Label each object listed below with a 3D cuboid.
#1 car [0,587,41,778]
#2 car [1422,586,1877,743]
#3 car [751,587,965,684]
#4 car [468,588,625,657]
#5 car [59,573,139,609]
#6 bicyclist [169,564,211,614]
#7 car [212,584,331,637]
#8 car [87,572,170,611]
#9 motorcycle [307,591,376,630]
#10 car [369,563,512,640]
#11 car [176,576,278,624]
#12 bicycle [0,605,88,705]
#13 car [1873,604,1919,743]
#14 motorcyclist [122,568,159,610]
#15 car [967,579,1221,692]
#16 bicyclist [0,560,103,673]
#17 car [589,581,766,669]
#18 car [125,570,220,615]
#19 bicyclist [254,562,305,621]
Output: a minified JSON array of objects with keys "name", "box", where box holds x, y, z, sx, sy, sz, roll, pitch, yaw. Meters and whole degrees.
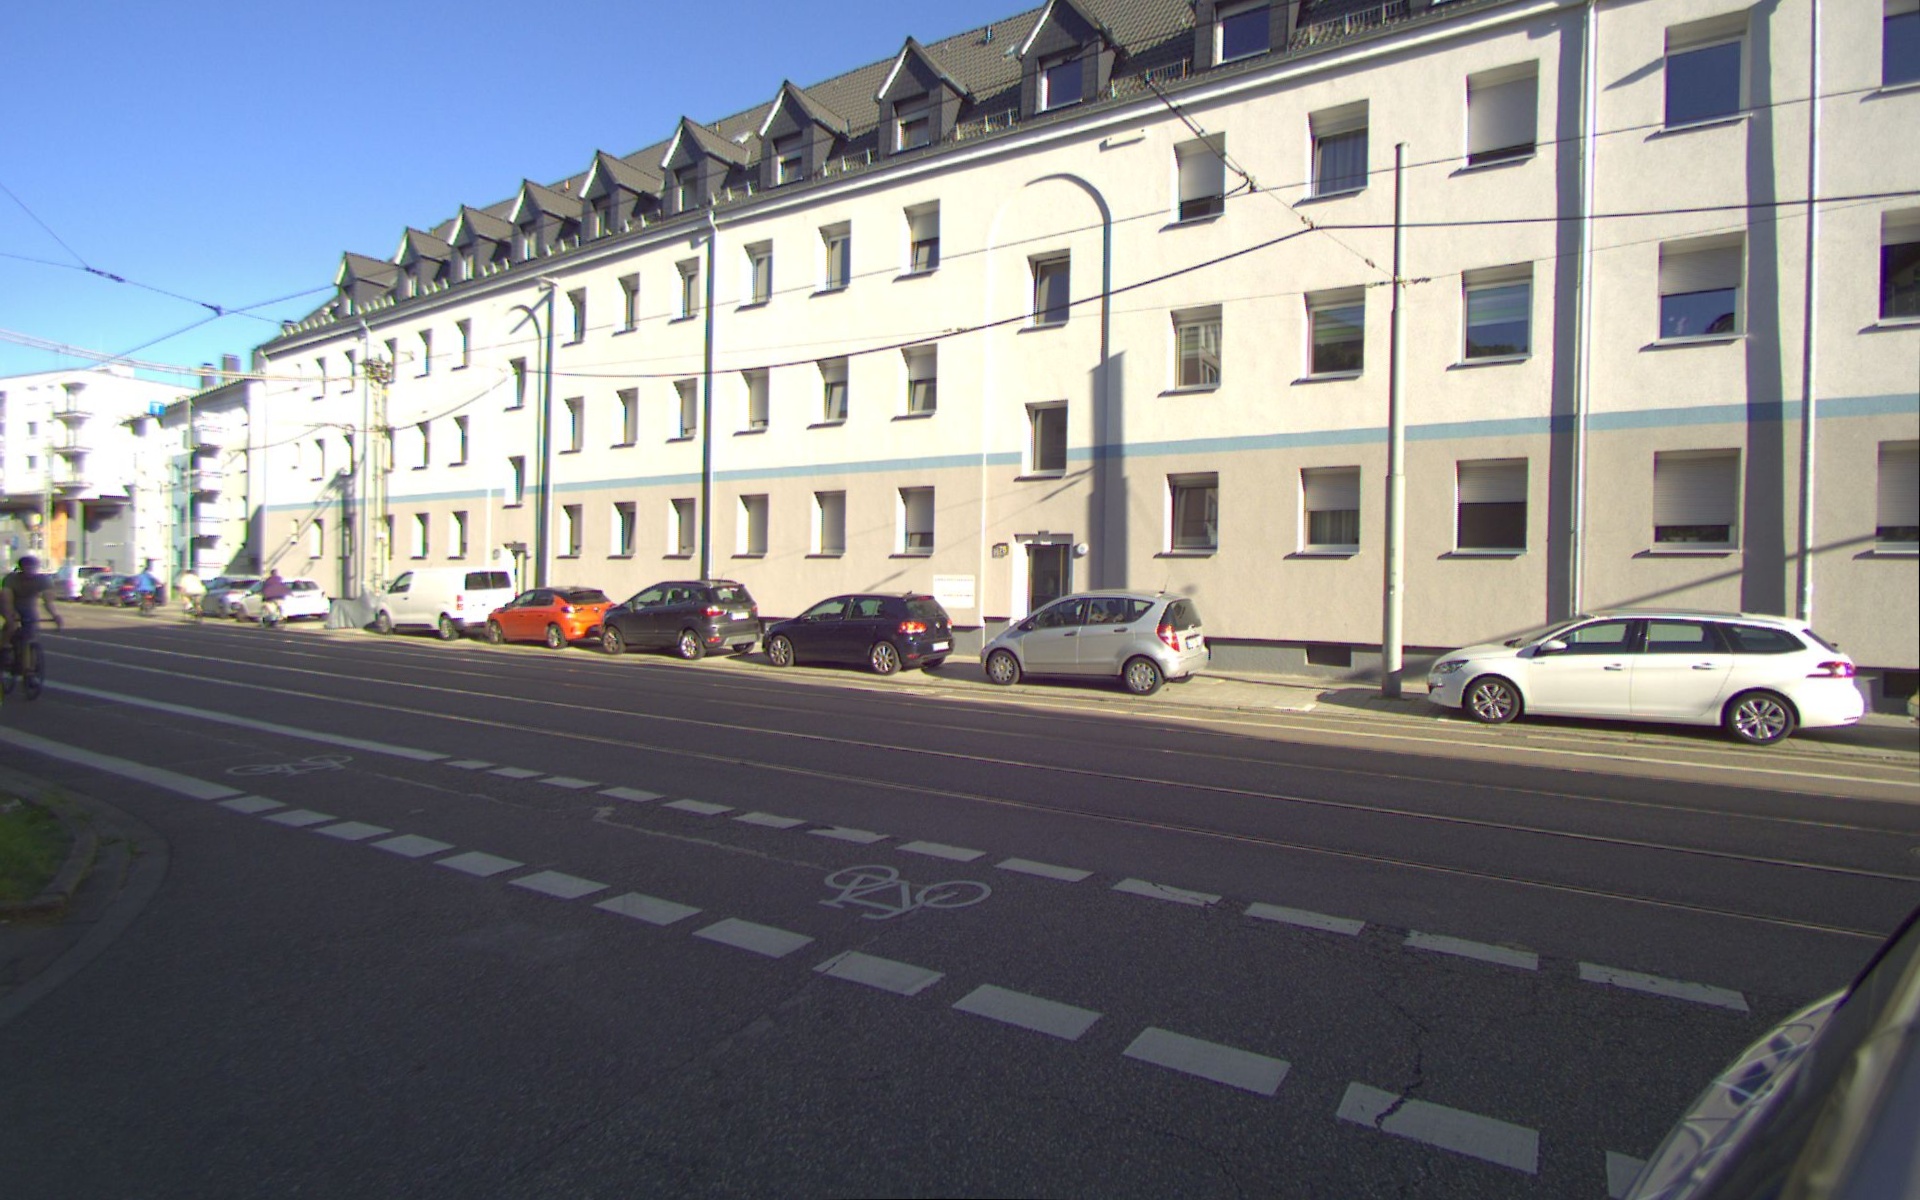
[{"name":"car","box":[-9.362,0.558,8.258,3.970,1.461,1.729,1,-2,33]},{"name":"car","box":[8.400,0.667,12.802,4.476,1.590,1.666,1,2,33]},{"name":"car","box":[-2.005,0.607,19.567,3.972,1.556,1.581,2,3,29]},{"name":"car","box":[-10.306,0.517,25.154,3.752,1.501,1.781,0,4,34]},{"name":"car","box":[-41.707,-0.462,48.990,4.517,1.666,1.828,1,1,34]},{"name":"bicyclist","box":[-23.578,-0.344,30.984,1.013,1.480,0.722,1,0,32]},{"name":"car","box":[-23.577,0.320,34.634,4.517,1.666,1.828,1,1,34]},{"name":"car","box":[-37.517,-0.410,45.644,3.937,1.666,1.828,1,1,34]},{"name":"motorcycle","box":[-18.915,0.311,30.975,1.735,1.159,0.493,1,0,-7]},{"name":"car","box":[-14.419,-0.023,28.049,4.126,1.995,1.771,1,2,34]},{"name":"car","box":[-27.111,-0.039,37.414,3.934,1.666,1.828,1,1,34]},{"name":"bicycle","box":[-11.717,0.647,12.697,1.945,1.115,0.617,1,2,32]},{"name":"car","box":[12.353,0.812,10.413,4.169,1.448,1.501,1,1,32]},{"name":"motorcyclist","box":[-28.554,-0.387,35.260,1.013,1.423,0.722,1,0,32]},{"name":"car","box":[2.205,0.499,16.975,3.877,1.589,1.740,1,4,34]},{"name":"bicyclist","box":[-11.749,0.186,12.739,1.086,1.347,1.174,1,0,31]},{"name":"car","box":[-6.315,0.487,22.502,3.876,1.689,1.647,1,4,34]},{"name":"car","box":[-31.029,-0.326,39.874,3.937,1.666,1.828,1,1,34]},{"name":"bicyclist","box":[-20.195,-0.256,30.027,0.962,1.697,0.927,1,0,32]}]
